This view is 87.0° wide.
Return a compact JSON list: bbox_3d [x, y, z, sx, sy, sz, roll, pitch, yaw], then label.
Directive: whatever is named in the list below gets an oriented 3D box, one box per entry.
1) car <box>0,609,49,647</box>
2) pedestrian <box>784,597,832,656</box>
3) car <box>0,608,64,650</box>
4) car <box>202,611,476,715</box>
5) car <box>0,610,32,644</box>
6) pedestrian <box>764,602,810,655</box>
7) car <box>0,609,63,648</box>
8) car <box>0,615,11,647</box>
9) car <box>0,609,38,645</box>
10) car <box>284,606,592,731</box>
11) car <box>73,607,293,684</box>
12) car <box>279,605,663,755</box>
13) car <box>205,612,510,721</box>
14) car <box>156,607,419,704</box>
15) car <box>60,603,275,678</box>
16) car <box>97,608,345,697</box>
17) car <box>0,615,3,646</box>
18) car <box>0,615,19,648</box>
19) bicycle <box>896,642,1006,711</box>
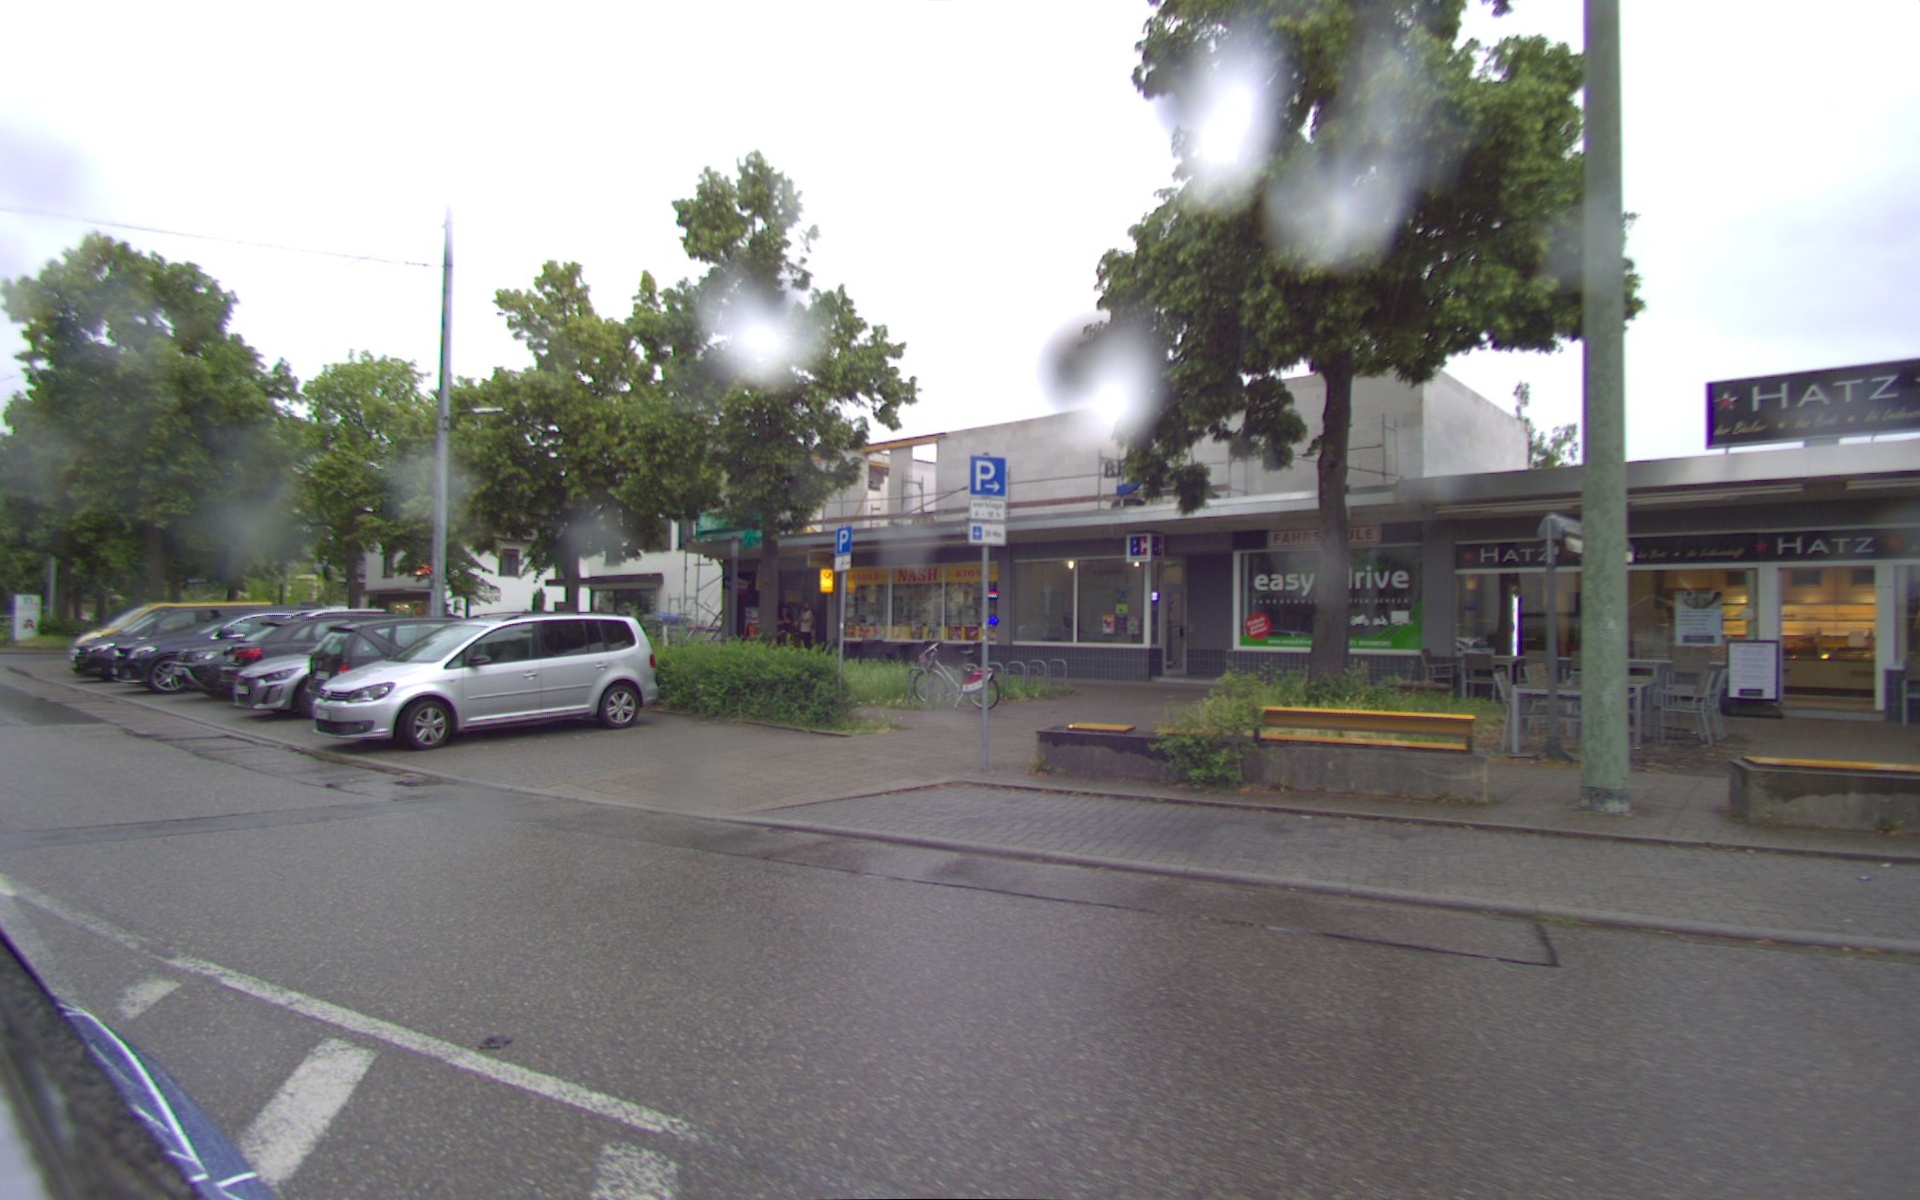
[{"bbox_3d":[-50.333,1.453,52.415,1.897,1.958,4.489,-1,-1,39],"label":"car"},{"bbox_3d":[-4.584,0.797,30.512,1.063,1.727,0.950,2,-2,-39],"label":"pedestrian"},{"bbox_3d":[-46.304,1.389,48.712,1.897,1.958,4.489,-1,-1,39],"label":"car"},{"bbox_3d":[-11.624,1.085,19.151,1.897,1.722,4.037,-1,-1,39],"label":"car"},{"bbox_3d":[-56.296,1.546,57.887,1.897,1.958,4.489,-1,-1,39],"label":"car"},{"bbox_3d":[-5.393,0.882,31.489,1.063,1.596,0.950,2,-2,-39],"label":"pedestrian"},{"bbox_3d":[-48.284,1.423,50.908,1.897,1.958,4.489,-1,-1,39],"label":"car"},{"bbox_3d":[-61.451,1.921,62.084,1.897,1.958,4.489,-1,-1,39],"label":"car"},{"bbox_3d":[-53.925,1.510,55.684,1.897,1.958,4.489,-1,-1,39],"label":"car"},{"bbox_3d":[-8.003,0.947,15.795,1.792,1.686,3.896,-1,-1,39],"label":"car"},{"bbox_3d":[-20.095,1.117,26.321,1.897,1.823,4.249,-1,-1,39],"label":"car"},{"bbox_3d":[-6.442,0.930,13.732,1.998,1.686,4.281,-1,-1,39],"label":"car"},{"bbox_3d":[-10.109,1.020,17.216,1.998,1.583,4.037,-1,-1,39],"label":"car"},{"bbox_3d":[-13.398,1.023,20.350,1.897,1.722,4.037,-1,-1,39],"label":"car"},{"bbox_3d":[-22.236,1.074,28.559,1.897,1.958,4.489,-1,-1,39],"label":"car"},{"bbox_3d":[-15.963,1.056,22.027,1.897,1.722,4.037,-1,-1,39],"label":"car"},{"bbox_3d":[-63.490,1.959,63.740,1.897,1.958,4.489,-1,-1,39],"label":"car"},{"bbox_3d":[-59.400,1.893,60.473,1.897,1.958,4.489,-1,-1,39],"label":"car"},{"bbox_3d":[-0.154,1.263,16.901,1.739,1.080,0.589,0,-3,23],"label":"bicycle"}]
